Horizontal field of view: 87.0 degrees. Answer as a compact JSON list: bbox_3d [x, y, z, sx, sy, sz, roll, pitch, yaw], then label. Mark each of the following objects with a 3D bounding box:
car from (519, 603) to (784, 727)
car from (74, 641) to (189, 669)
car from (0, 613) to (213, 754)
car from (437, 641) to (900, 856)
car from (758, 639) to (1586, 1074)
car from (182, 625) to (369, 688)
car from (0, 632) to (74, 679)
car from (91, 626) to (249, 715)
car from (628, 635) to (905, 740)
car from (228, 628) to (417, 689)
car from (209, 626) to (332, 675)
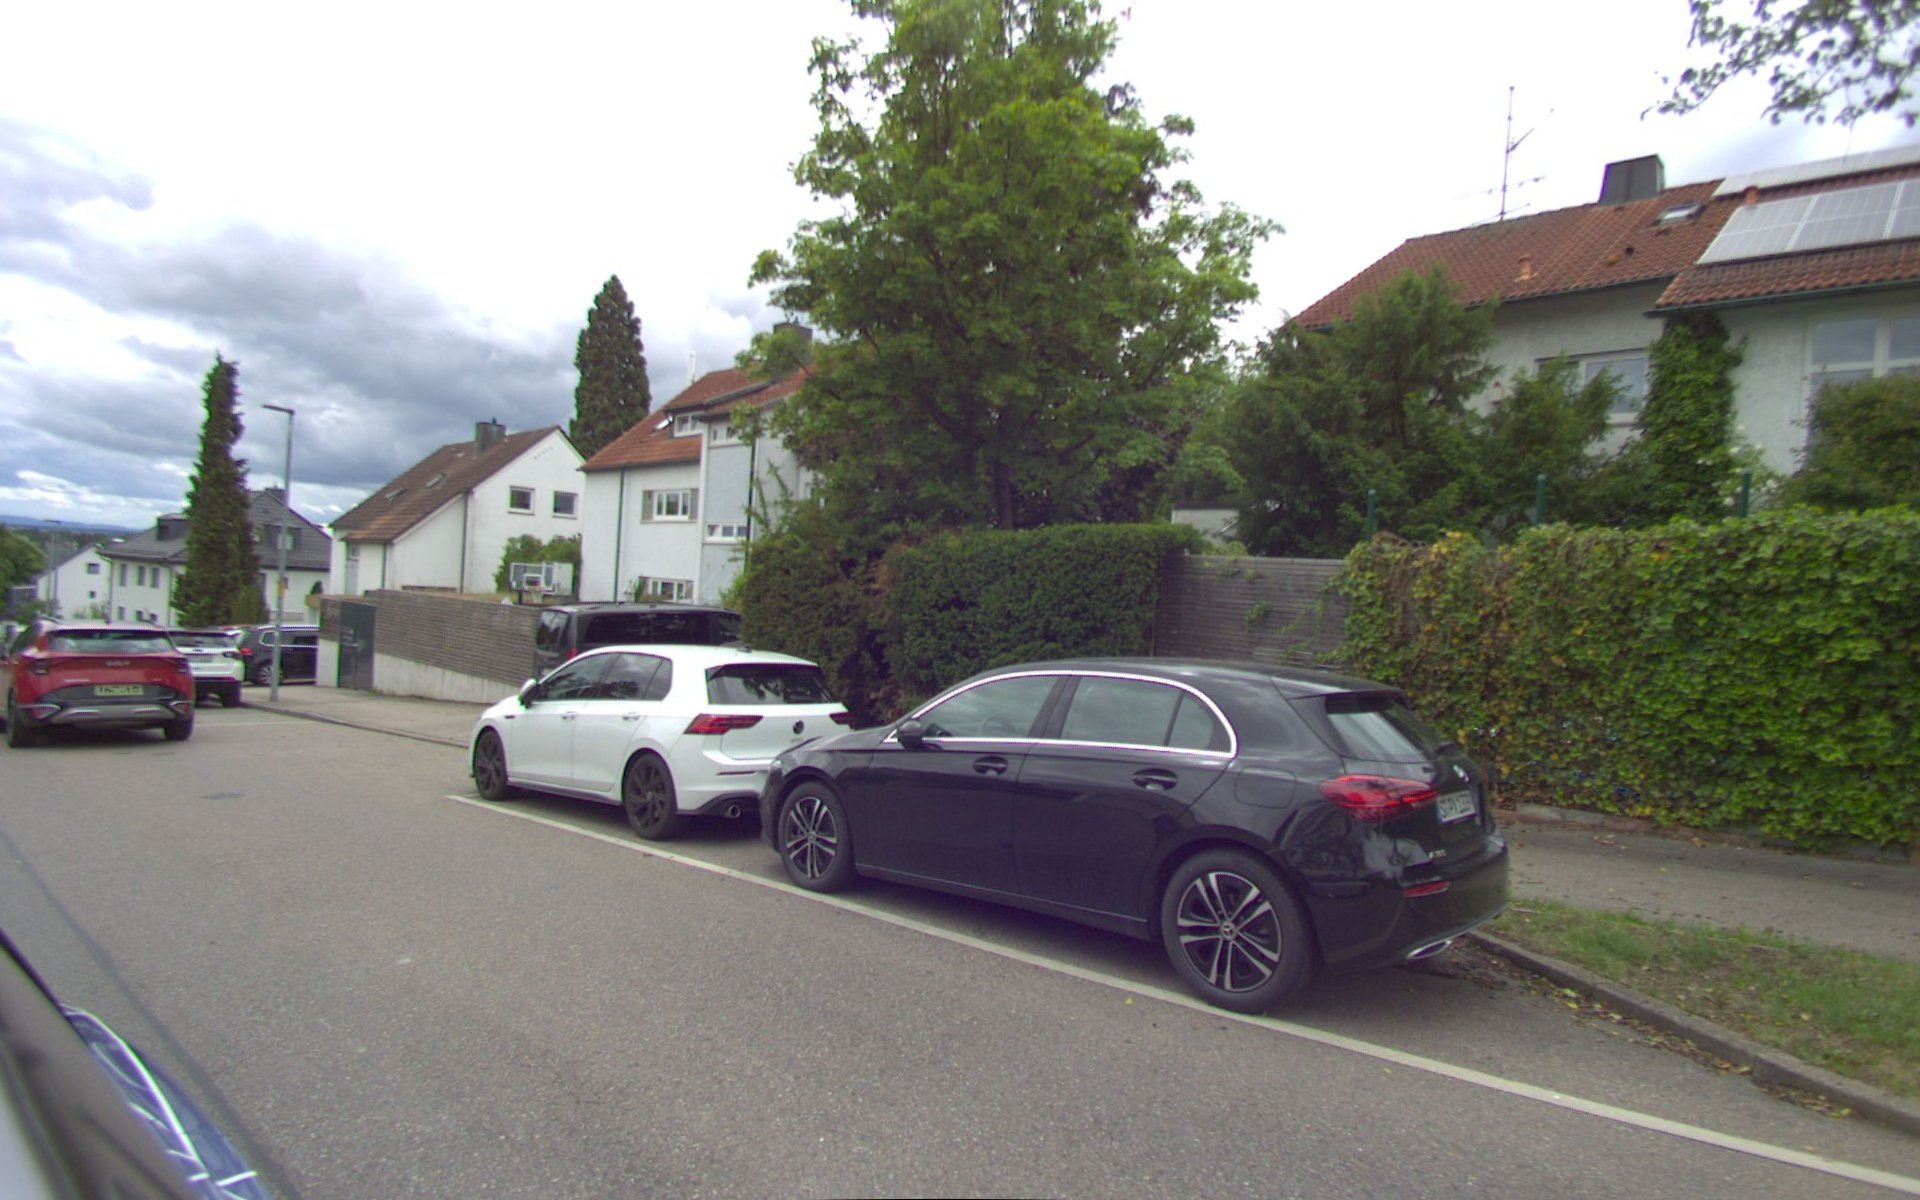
[{"bbox_3d":[-5.437,1.096,18.075,4.022,1.964,2.003,3,-2,-40],"label":"car"},{"bbox_3d":[-42.678,2.839,52.214,1.900,1.378,4.248,-2,-3,36],"label":"car"},{"bbox_3d":[-12.098,1.090,14.016,4.256,1.660,1.920,-2,-5,42],"label":"car"},{"bbox_3d":[-2.750,1.114,8.981,4.406,1.433,1.818,-2,-5,41],"label":"car"},{"bbox_3d":[0.857,0.973,5.480,4.078,1.434,1.709,-1,-4,42],"label":"car"},{"bbox_3d":[-20.752,1.647,30.821,1.909,1.641,4.366,-2,0,40],"label":"car"},{"bbox_3d":[-32.706,1.945,35.633,3.853,1.575,1.742,-2,-4,41],"label":"car"},{"bbox_3d":[-16.595,1.437,21.182,4.407,1.679,1.817,-2,-5,42],"label":"car"},{"bbox_3d":[-3.014,1.296,16.072,3.934,1.456,1.783,1,-2,-36],"label":"car"},{"bbox_3d":[-18.148,1.670,28.952,4.246,1.624,1.855,4,-4,-44],"label":"car"},{"bbox_3d":[-24.830,1.783,36.484,1.657,1.590,3.392,0,0,42],"label":"car"}]
